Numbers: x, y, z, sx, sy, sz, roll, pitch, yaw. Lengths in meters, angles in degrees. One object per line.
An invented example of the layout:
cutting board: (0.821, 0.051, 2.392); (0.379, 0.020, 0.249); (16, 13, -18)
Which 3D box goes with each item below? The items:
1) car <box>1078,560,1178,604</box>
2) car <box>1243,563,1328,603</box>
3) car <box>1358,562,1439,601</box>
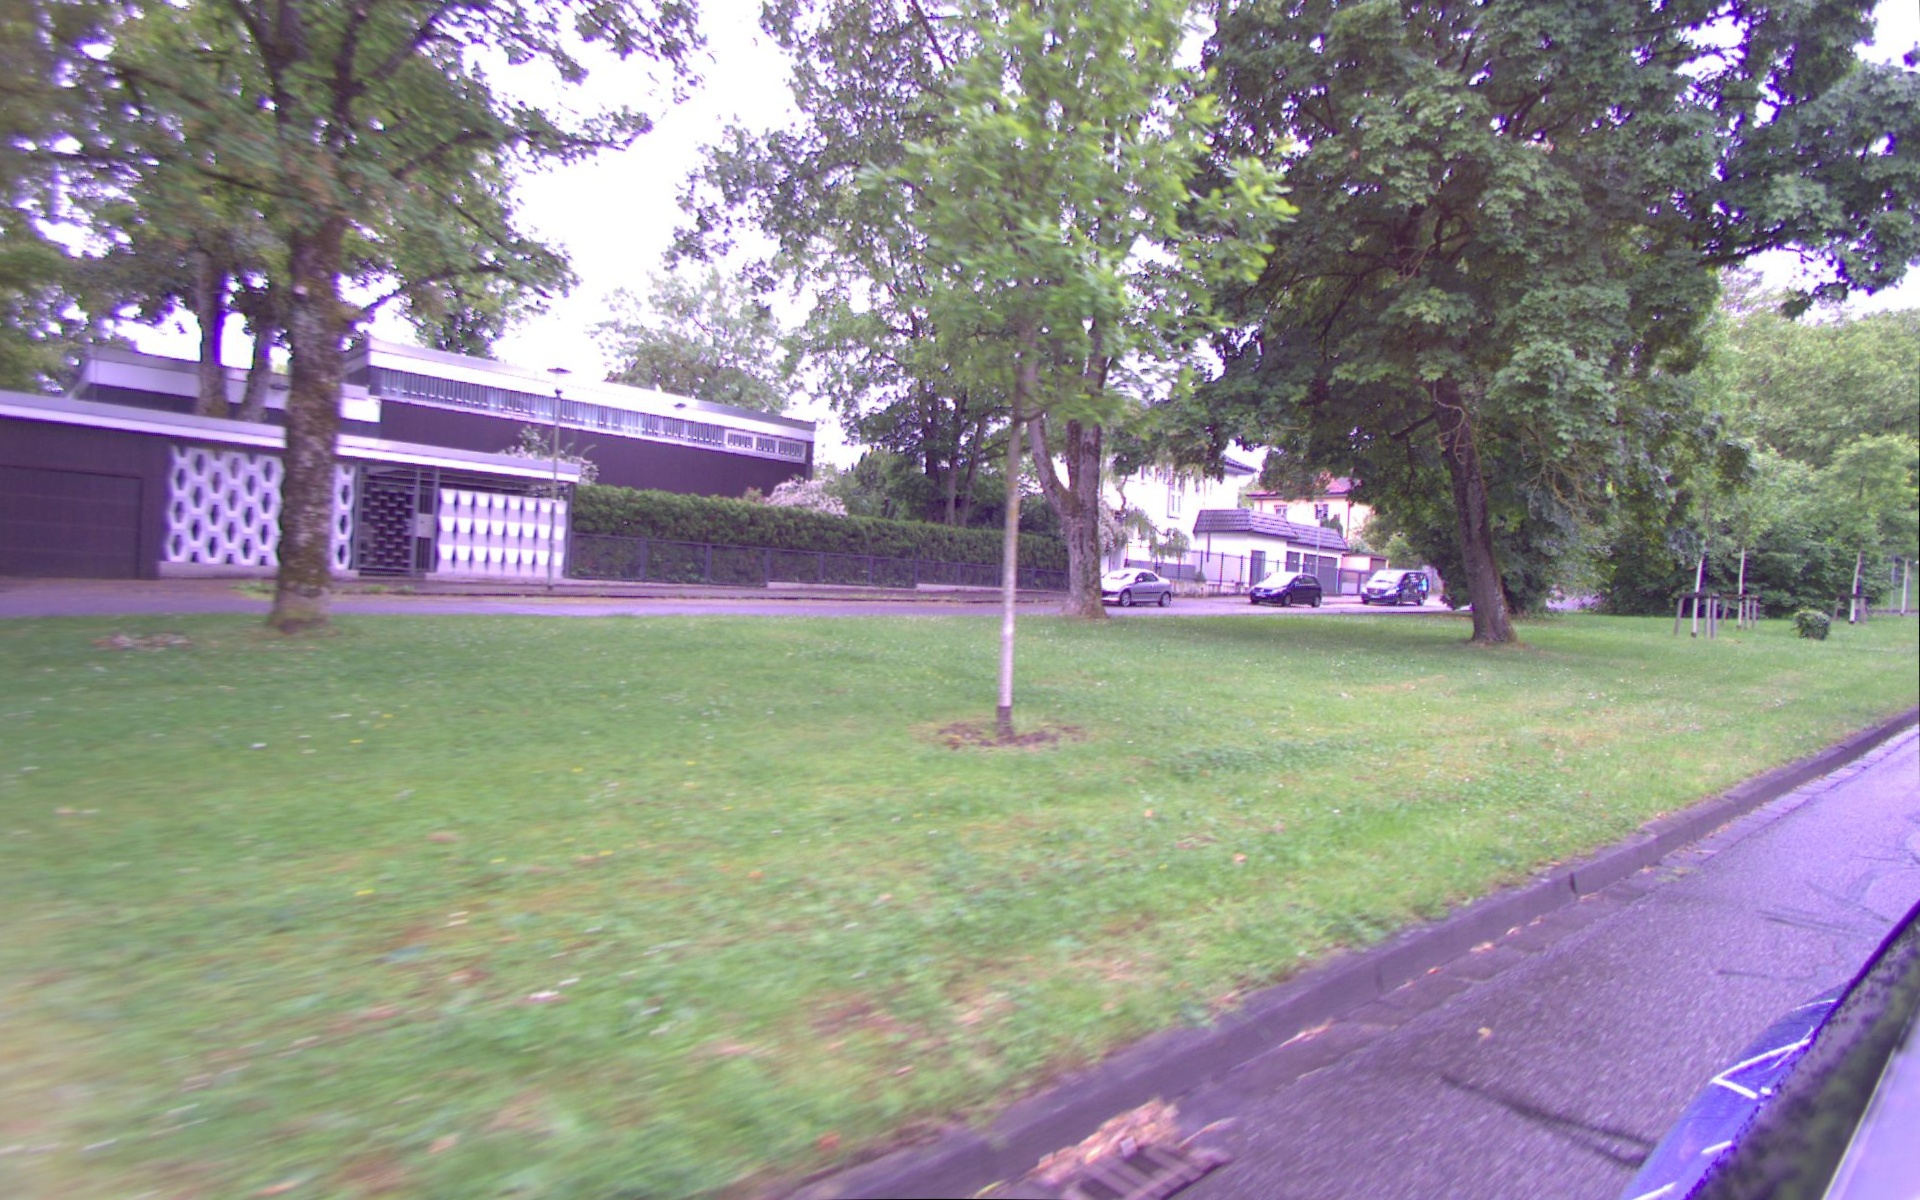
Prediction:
car: (6.109, -0.654, 36.641); (3.648, 1.392, 1.684); (-1, 5, -44)
car: (14.507, -0.795, 44.989); (3.969, 1.644, 1.904); (-1, 4, -44)
car: (23.338, -0.991, 53.733); (4.986, 1.901, 2.162); (-1, 4, -44)
